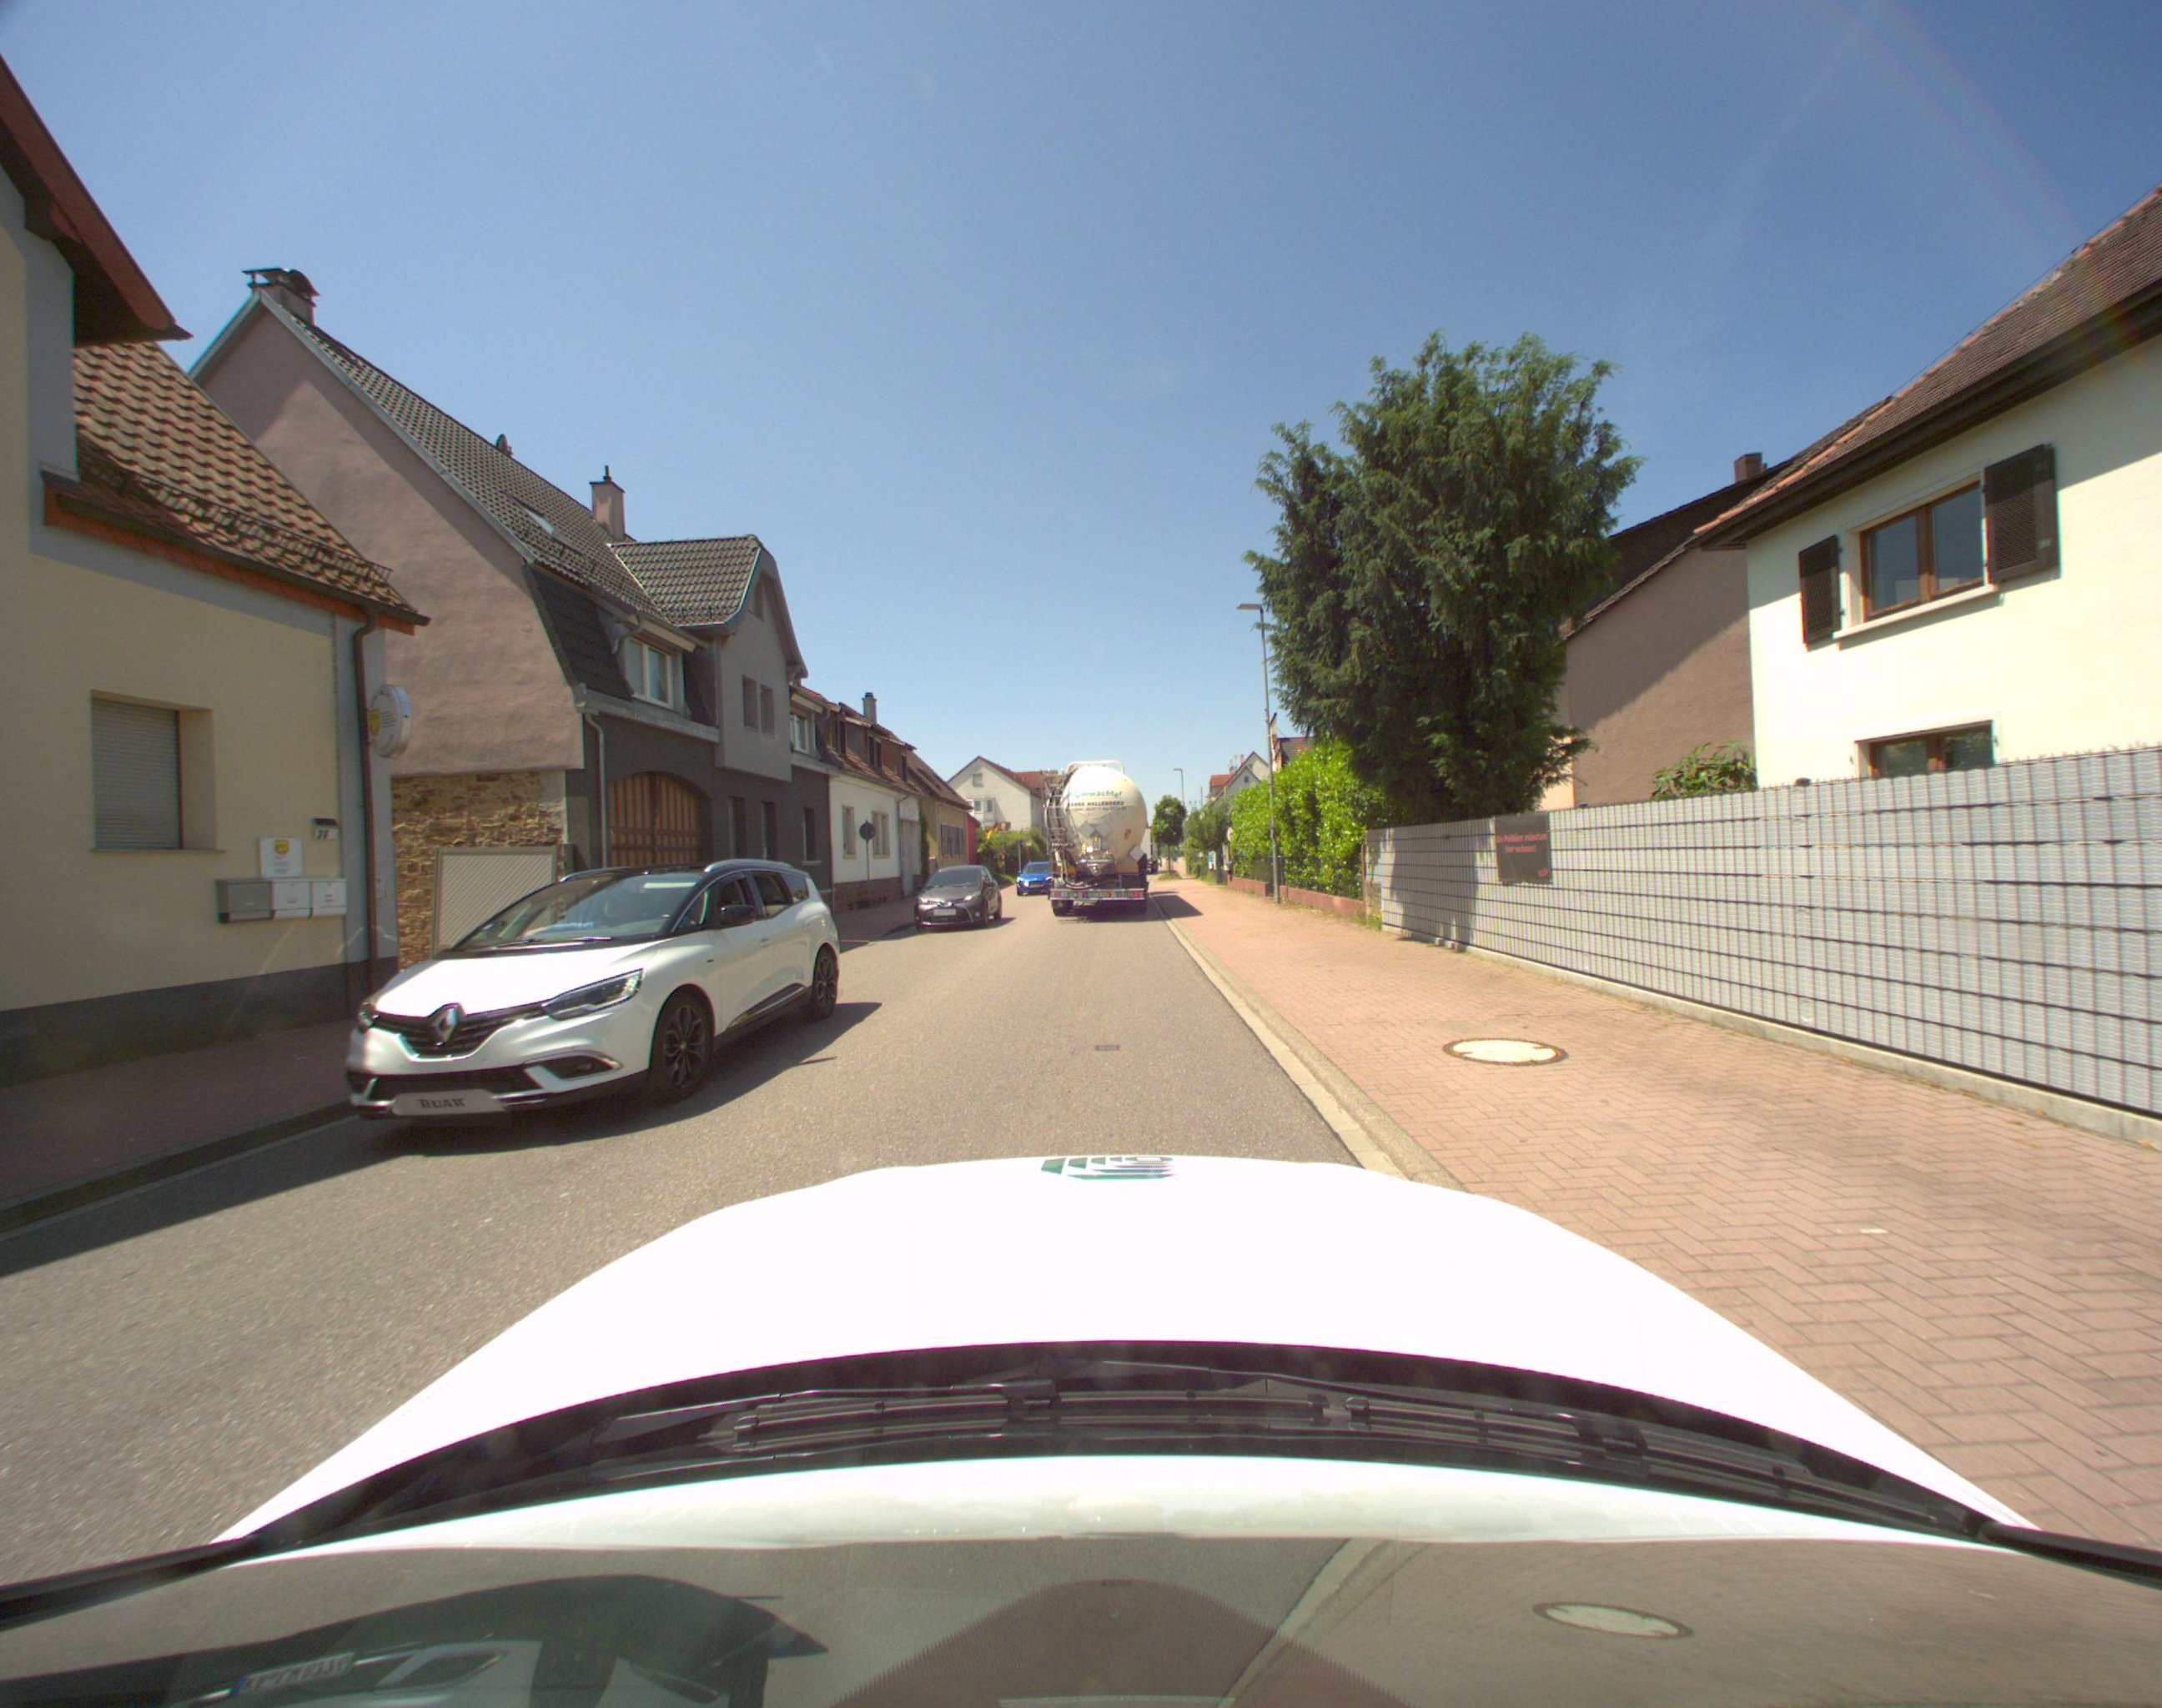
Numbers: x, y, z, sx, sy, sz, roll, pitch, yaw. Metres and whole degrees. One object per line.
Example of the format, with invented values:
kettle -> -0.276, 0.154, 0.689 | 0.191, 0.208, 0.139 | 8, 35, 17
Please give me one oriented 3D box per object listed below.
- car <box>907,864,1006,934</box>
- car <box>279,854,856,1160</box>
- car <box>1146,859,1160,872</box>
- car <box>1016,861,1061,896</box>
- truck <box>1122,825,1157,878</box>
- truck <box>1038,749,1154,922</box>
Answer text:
car -> -3.018, 1.055, 20.504 | 1.670, 1.459, 3.930 | -4, -1, 2
car -> -3.528, 0.885, 6.830 | 1.867, 1.603, 4.432 | -4, -1, 1
car -> 10.402, 1.618, 117.979 | 1.864, 1.556, 4.637 | -3, 1, 6
car -> -1.910, 1.078, 37.701 | 1.639, 1.454, 4.403 | -2, -1, 2
truck -> 5.364, -0.196, 73.142 | 2.628, 4.225, 12.113 | -2, 0, 6
truck -> 0.522, -0.417, 24.070 | 2.631, 4.016, 9.565 | -2, 0, 2
